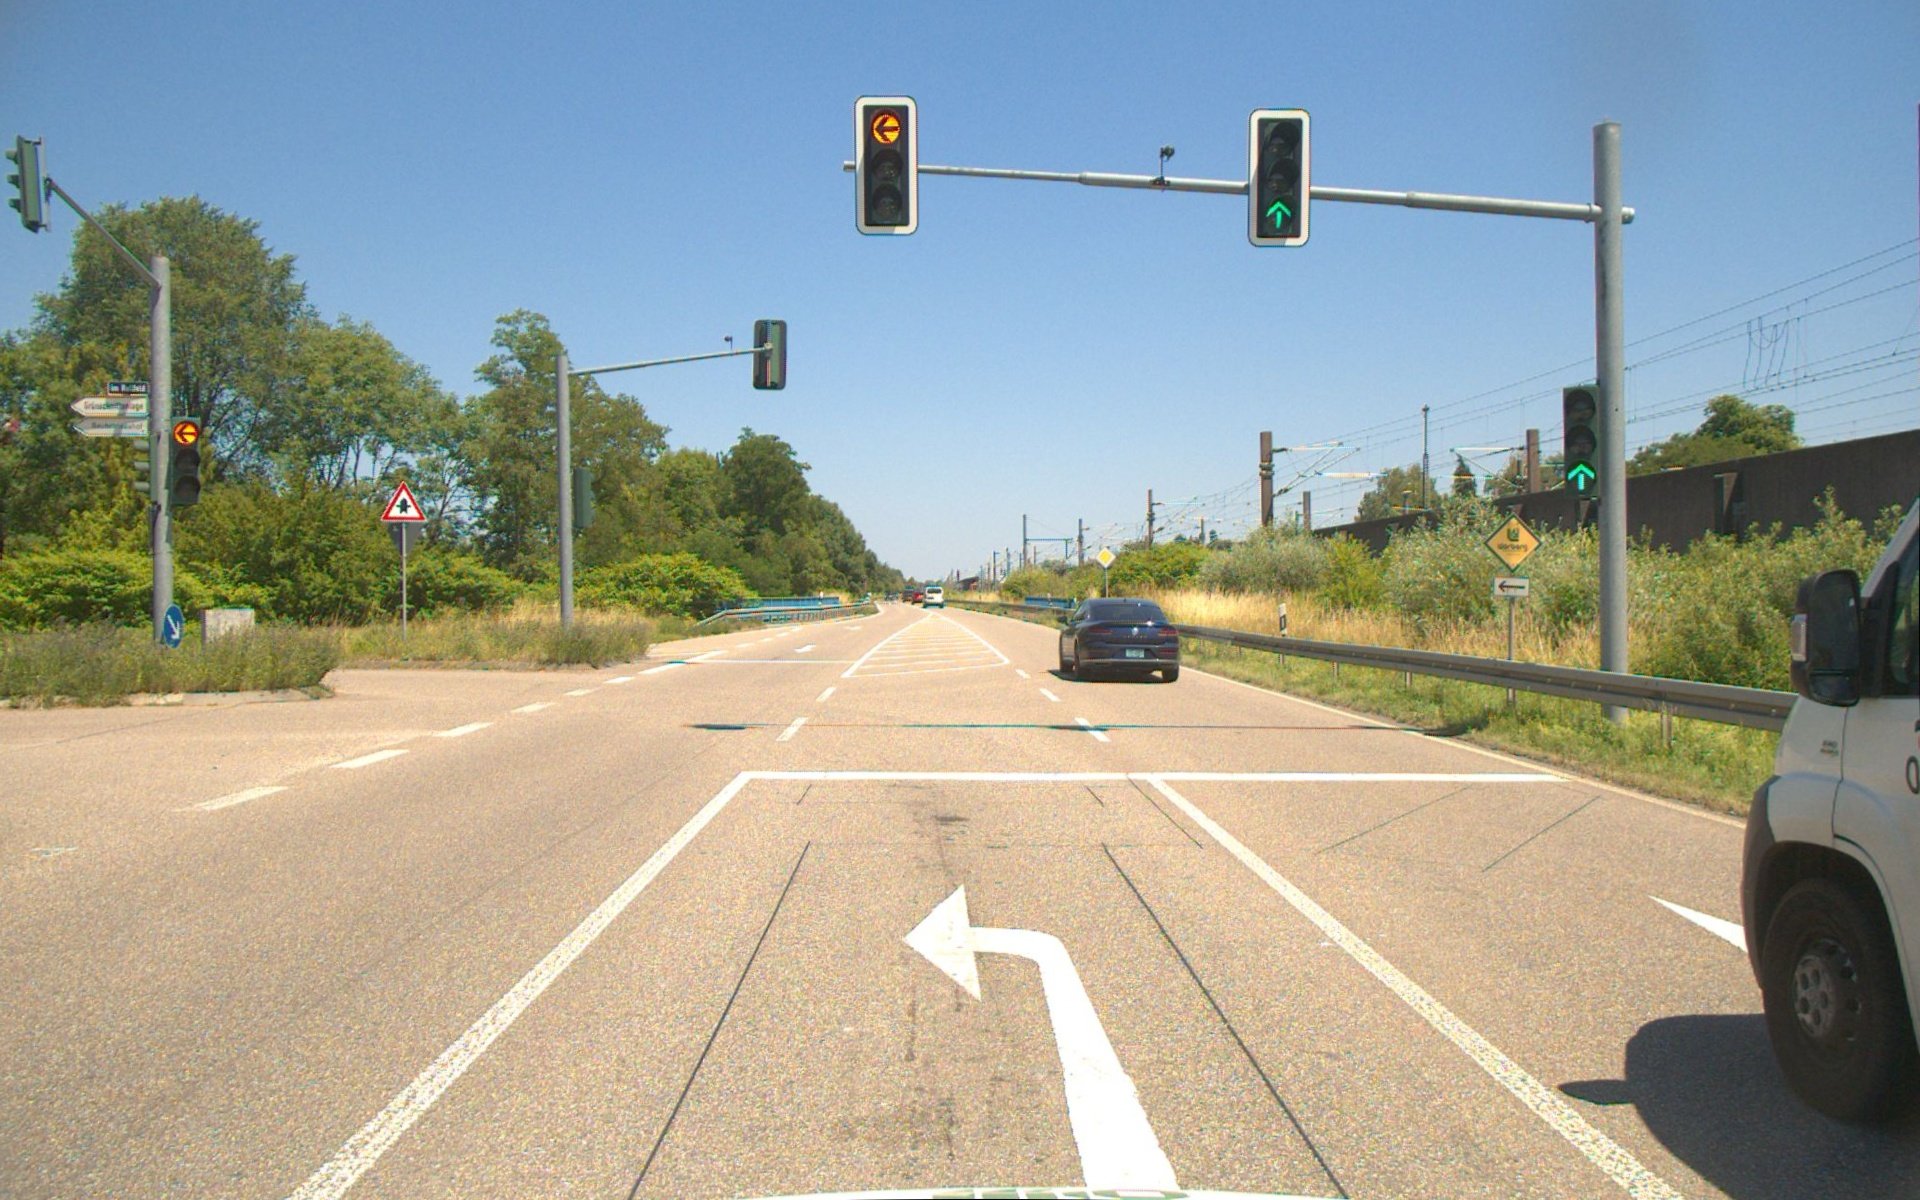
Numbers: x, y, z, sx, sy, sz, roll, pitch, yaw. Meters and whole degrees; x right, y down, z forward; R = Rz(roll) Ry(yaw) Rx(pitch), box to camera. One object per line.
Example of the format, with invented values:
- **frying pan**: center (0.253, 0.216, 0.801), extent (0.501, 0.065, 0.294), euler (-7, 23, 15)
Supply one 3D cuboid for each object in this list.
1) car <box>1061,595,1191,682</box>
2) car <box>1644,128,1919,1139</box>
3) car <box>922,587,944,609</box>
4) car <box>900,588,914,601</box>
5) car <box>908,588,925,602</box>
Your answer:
- **car**: center (2.918, 0.642, 29.945), extent (1.819, 1.404, 4.502), euler (1, 0, -1)
- **car**: center (3.621, 0.111, 2.627), extent (2.144, 2.649, 6.749), euler (1, 0, -1)
- **car**: center (-2.520, -0.205, 155.716), extent (1.953, 2.018, 4.058), euler (1, 0, -2)
- **car**: center (-8.390, -0.824, 261.430), extent (2.112, 2.002, 4.540), euler (0, 0, -3)
- **car**: center (-5.402, -0.624, 203.791), extent (1.979, 1.756, 4.540), euler (0, 0, -3)
